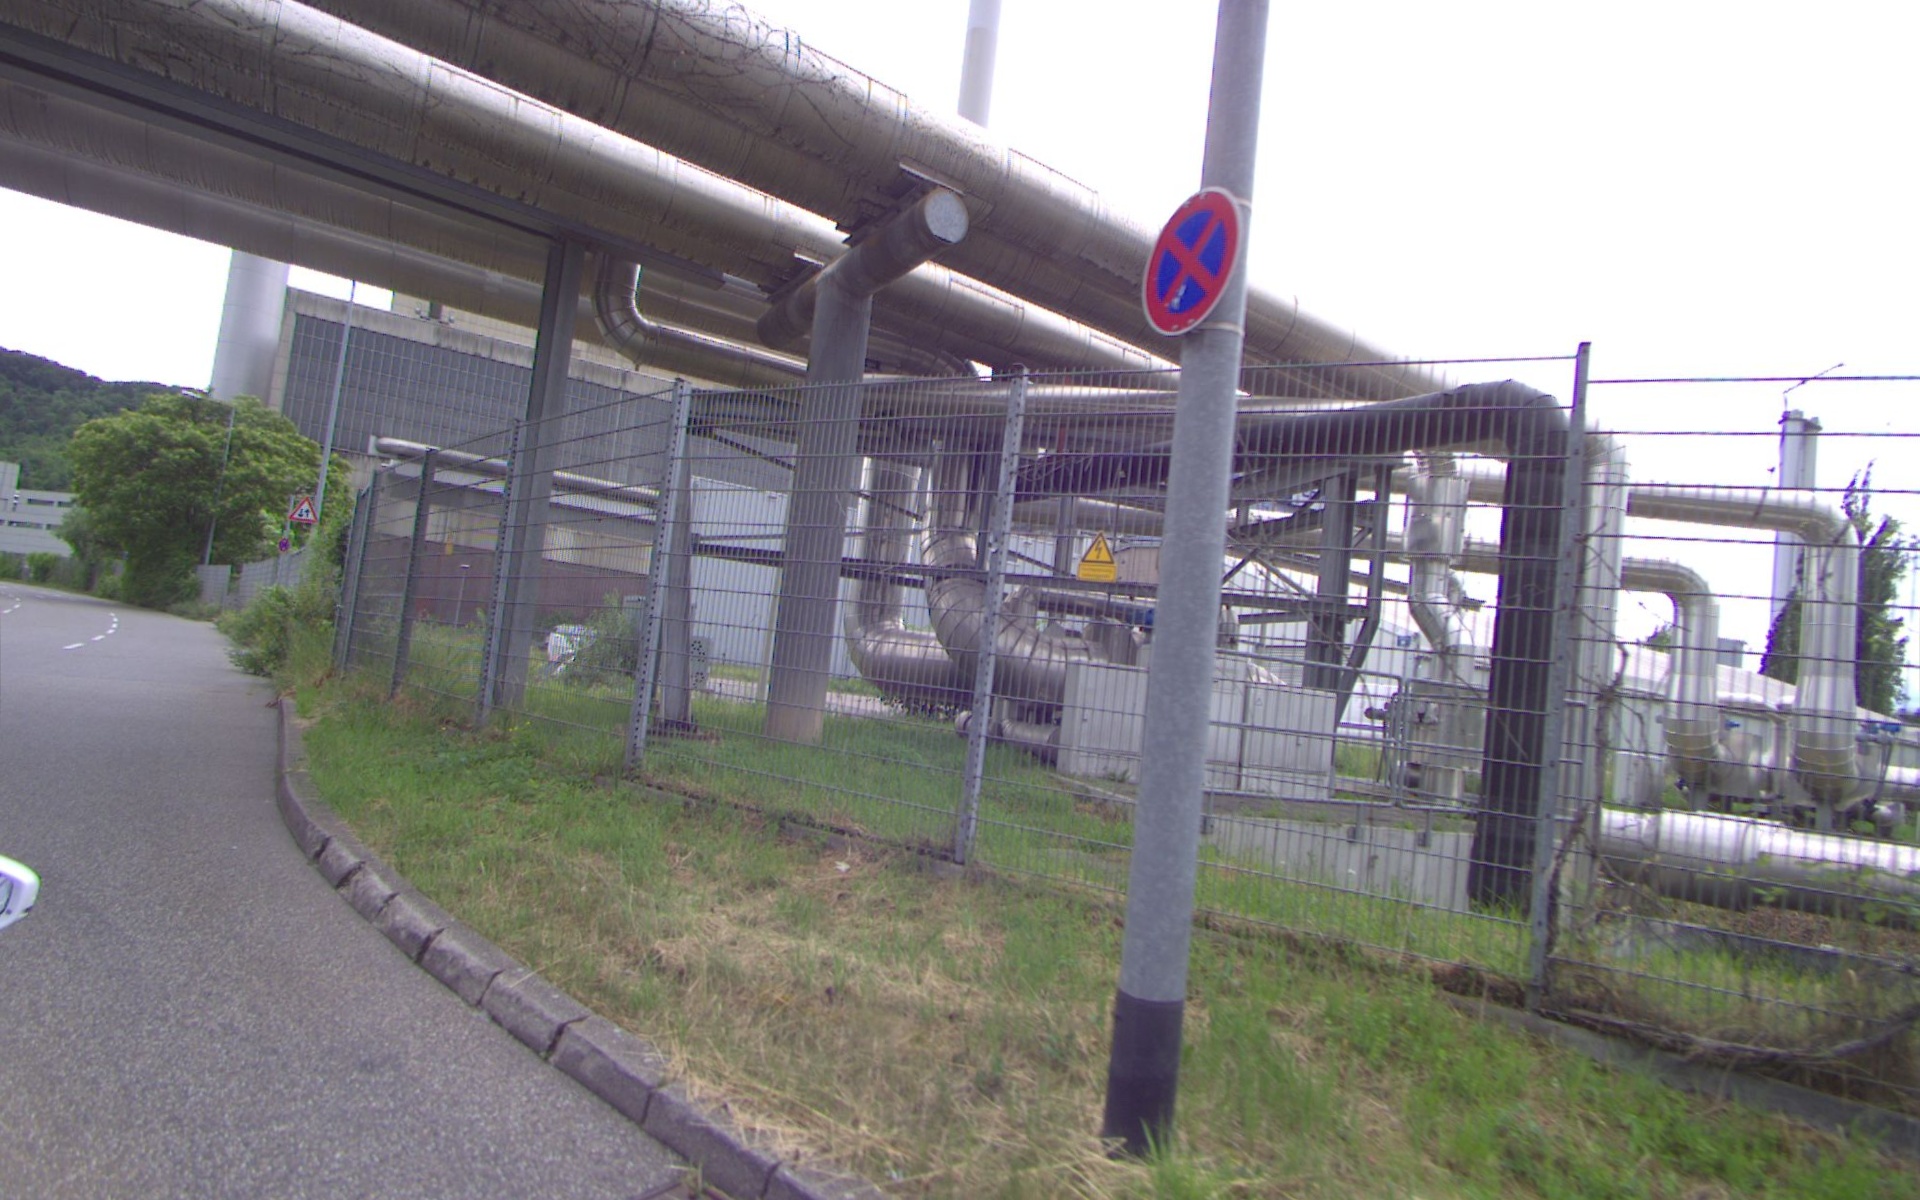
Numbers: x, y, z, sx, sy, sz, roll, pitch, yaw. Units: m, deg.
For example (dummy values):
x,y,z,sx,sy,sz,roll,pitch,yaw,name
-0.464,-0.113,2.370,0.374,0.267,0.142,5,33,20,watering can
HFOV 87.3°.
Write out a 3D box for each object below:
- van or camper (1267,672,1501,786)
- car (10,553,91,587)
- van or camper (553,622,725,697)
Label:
x,y,z,sx,sy,sz,roll,pitch,yaw,name
12.347,3.709,29.874,2.546,2.575,6.095,9,-5,-26,van or camper
-93.181,-3.077,103.157,6.059,2.284,2.004,9,-5,-1,car
-25.692,4.914,81.310,5.417,4.575,11.803,1,-8,42,van or camper
